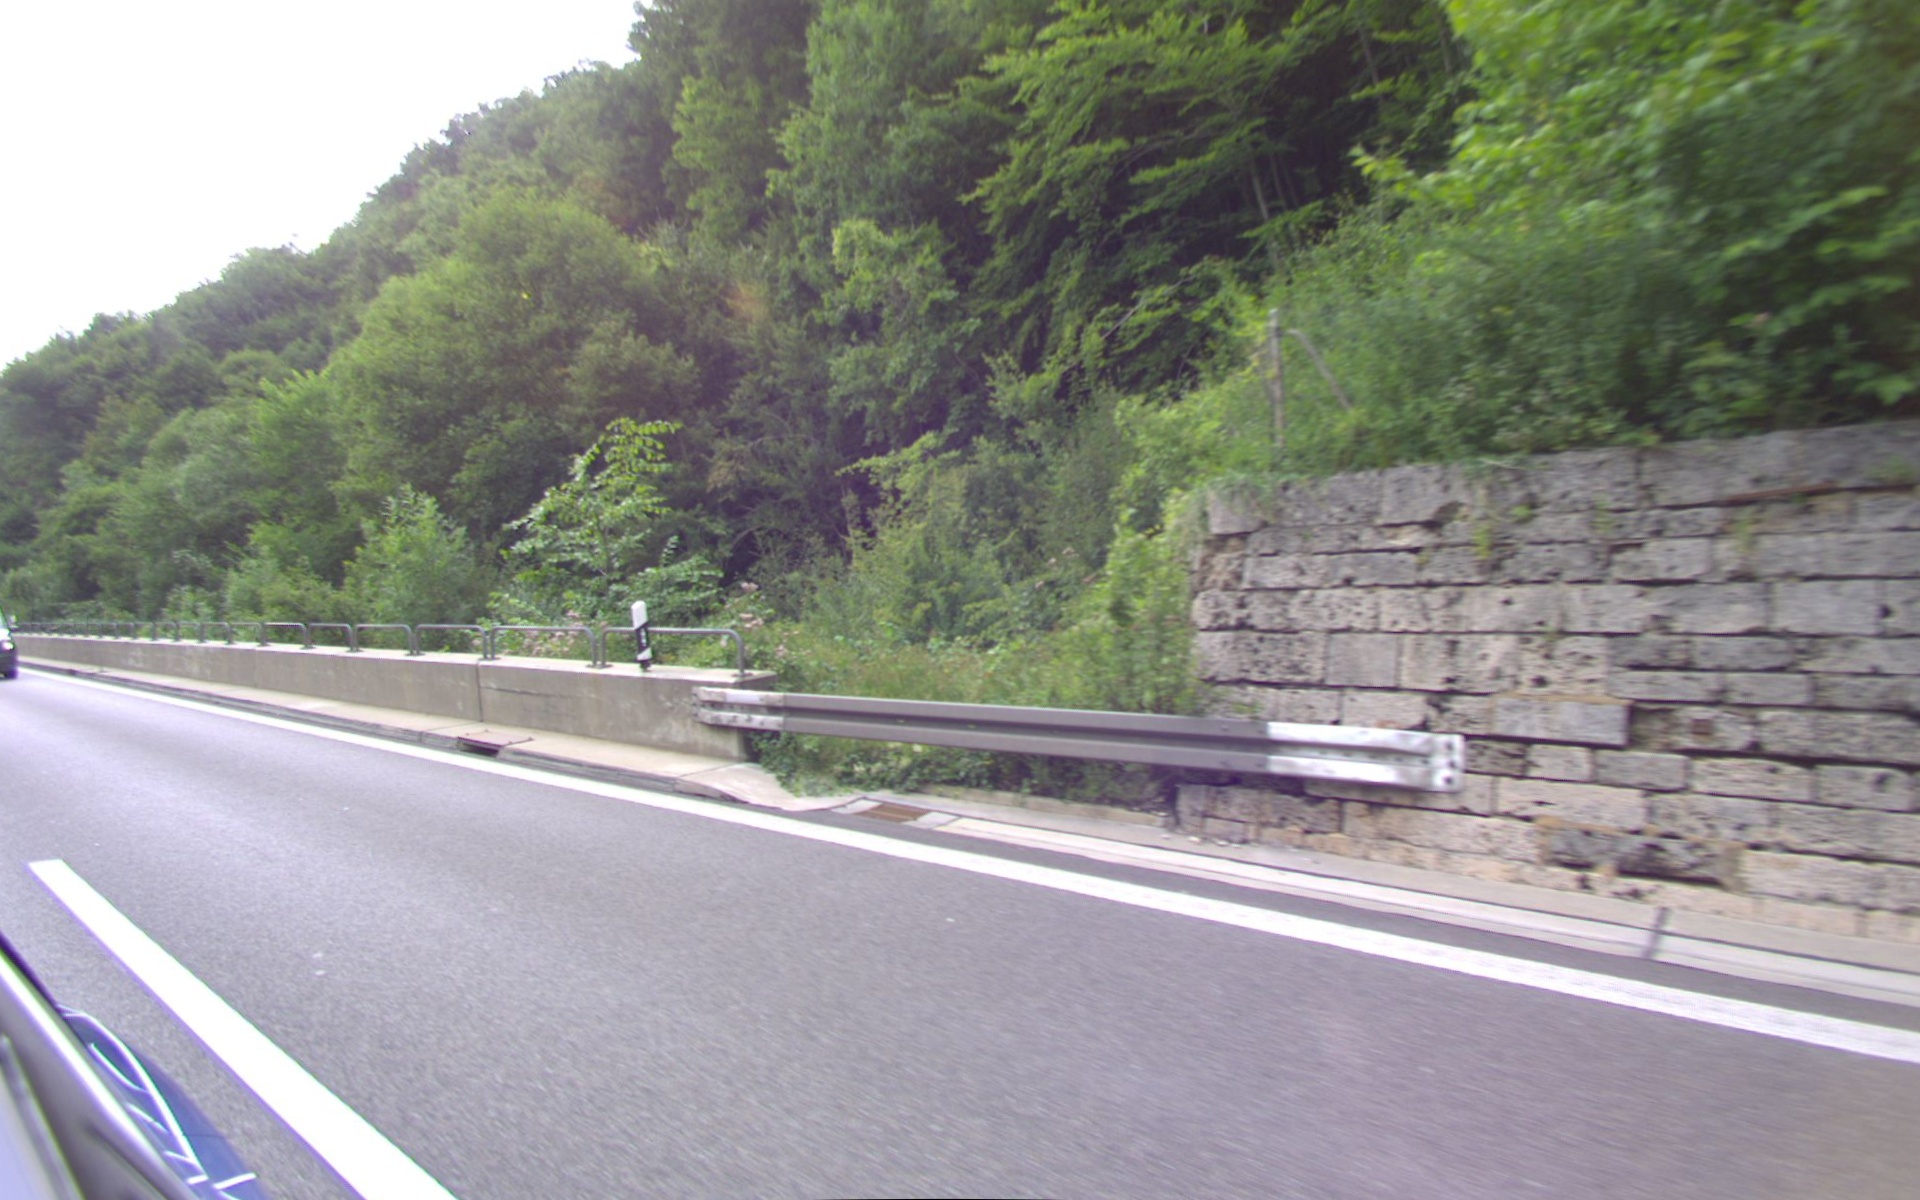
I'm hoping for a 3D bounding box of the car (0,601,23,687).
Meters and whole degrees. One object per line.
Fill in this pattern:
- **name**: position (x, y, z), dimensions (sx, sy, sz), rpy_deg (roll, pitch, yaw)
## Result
- **car**: position (-25.041, 1.106, 25.246), dimensions (5.540, 2.029, 1.972), rpy_deg (-1, 1, 43)
